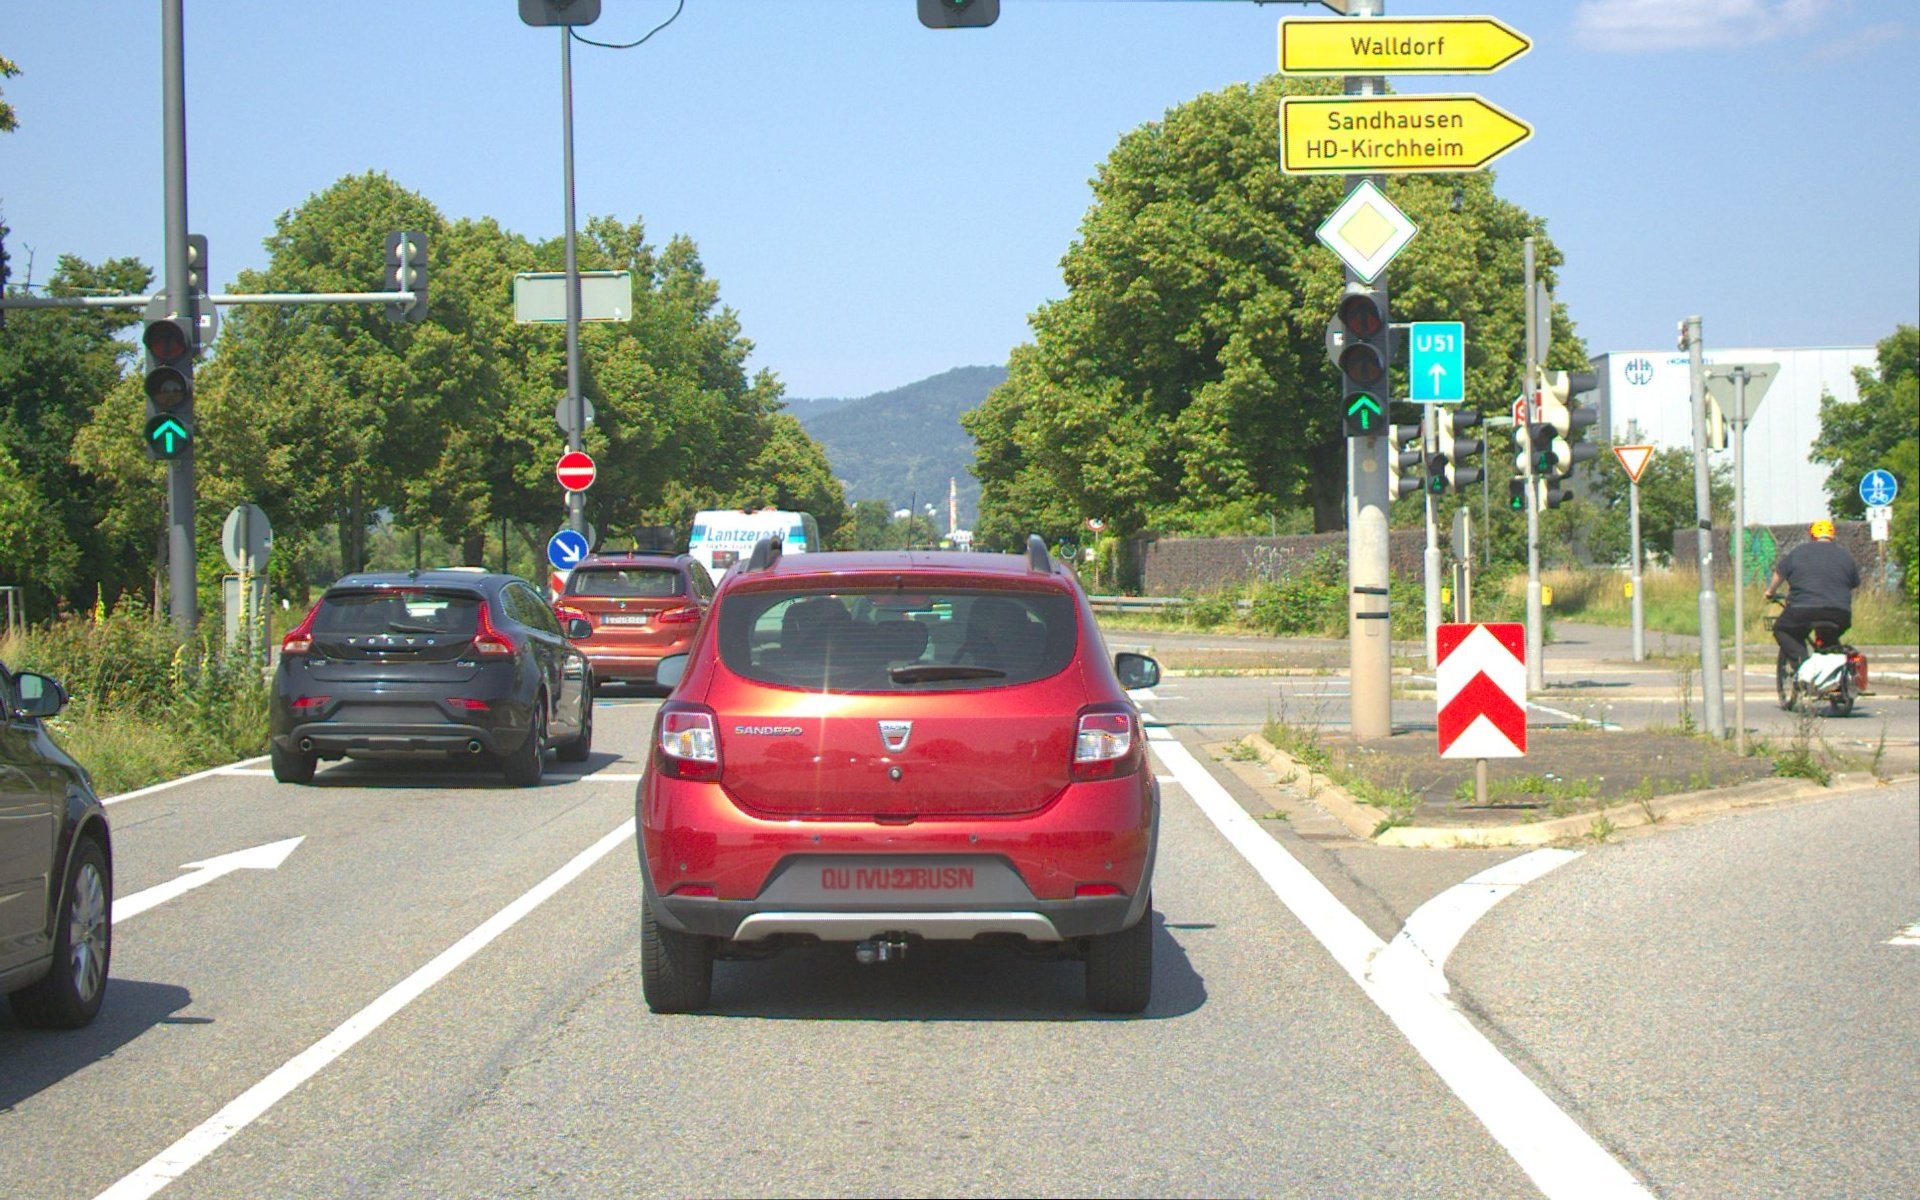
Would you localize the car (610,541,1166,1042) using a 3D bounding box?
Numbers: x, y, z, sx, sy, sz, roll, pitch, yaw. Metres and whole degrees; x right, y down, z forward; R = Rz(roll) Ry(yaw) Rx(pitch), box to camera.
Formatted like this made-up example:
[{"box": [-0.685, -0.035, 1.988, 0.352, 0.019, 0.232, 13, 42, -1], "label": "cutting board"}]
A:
[{"box": [-0.173, 0.579, 12.660, 1.749, 1.570, 3.676, 0, 1, 2], "label": "car"}]

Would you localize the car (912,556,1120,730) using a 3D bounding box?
[{"box": [0.528, 0.339, 30.818, 1.749, 1.453, 3.676, 0, 1, 2], "label": "car"}]

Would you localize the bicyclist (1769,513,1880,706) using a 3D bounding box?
[{"box": [8.068, 0.083, 32.120, 0.802, 1.765, 0.809, -1, 1, -1], "label": "bicyclist"}]

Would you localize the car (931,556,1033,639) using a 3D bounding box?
[{"box": [0.425, -0.071, 62.423, 1.749, 1.453, 3.676, 0, 1, 2], "label": "car"}]

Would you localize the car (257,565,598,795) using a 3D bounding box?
[{"box": [-3.610, 0.488, 23.925, 1.702, 1.437, 3.955, 0, 1, 1], "label": "car"}]

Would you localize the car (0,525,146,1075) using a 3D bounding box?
[{"box": [-3.602, 0.569, 9.519, 1.723, 1.570, 3.892, 0, 1, 1], "label": "car"}]

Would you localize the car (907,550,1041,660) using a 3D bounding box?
[{"box": [0.233, 0.033, 47.490, 1.749, 1.453, 3.676, 0, 1, 2], "label": "car"}]

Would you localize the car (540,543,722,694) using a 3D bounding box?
[{"box": [-3.615, 0.162, 38.374, 1.724, 1.594, 3.956, 0, 1, -1], "label": "car"}]

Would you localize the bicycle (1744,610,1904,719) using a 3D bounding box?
[{"box": [8.069, 0.581, 32.232, 0.761, 0.911, 2.780, -1, 1, -1], "label": "bicycle"}]

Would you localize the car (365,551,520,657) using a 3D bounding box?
[{"box": [-8.634, 0.040, 57.675, 1.993, 1.664, 4.000, -1, 1, 0], "label": "car"}]

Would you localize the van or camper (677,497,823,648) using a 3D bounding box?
[{"box": [-3.324, -0.460, 55.295, 2.179, 2.295, 4.827, 1, 1, -2], "label": "van or camper"}]
